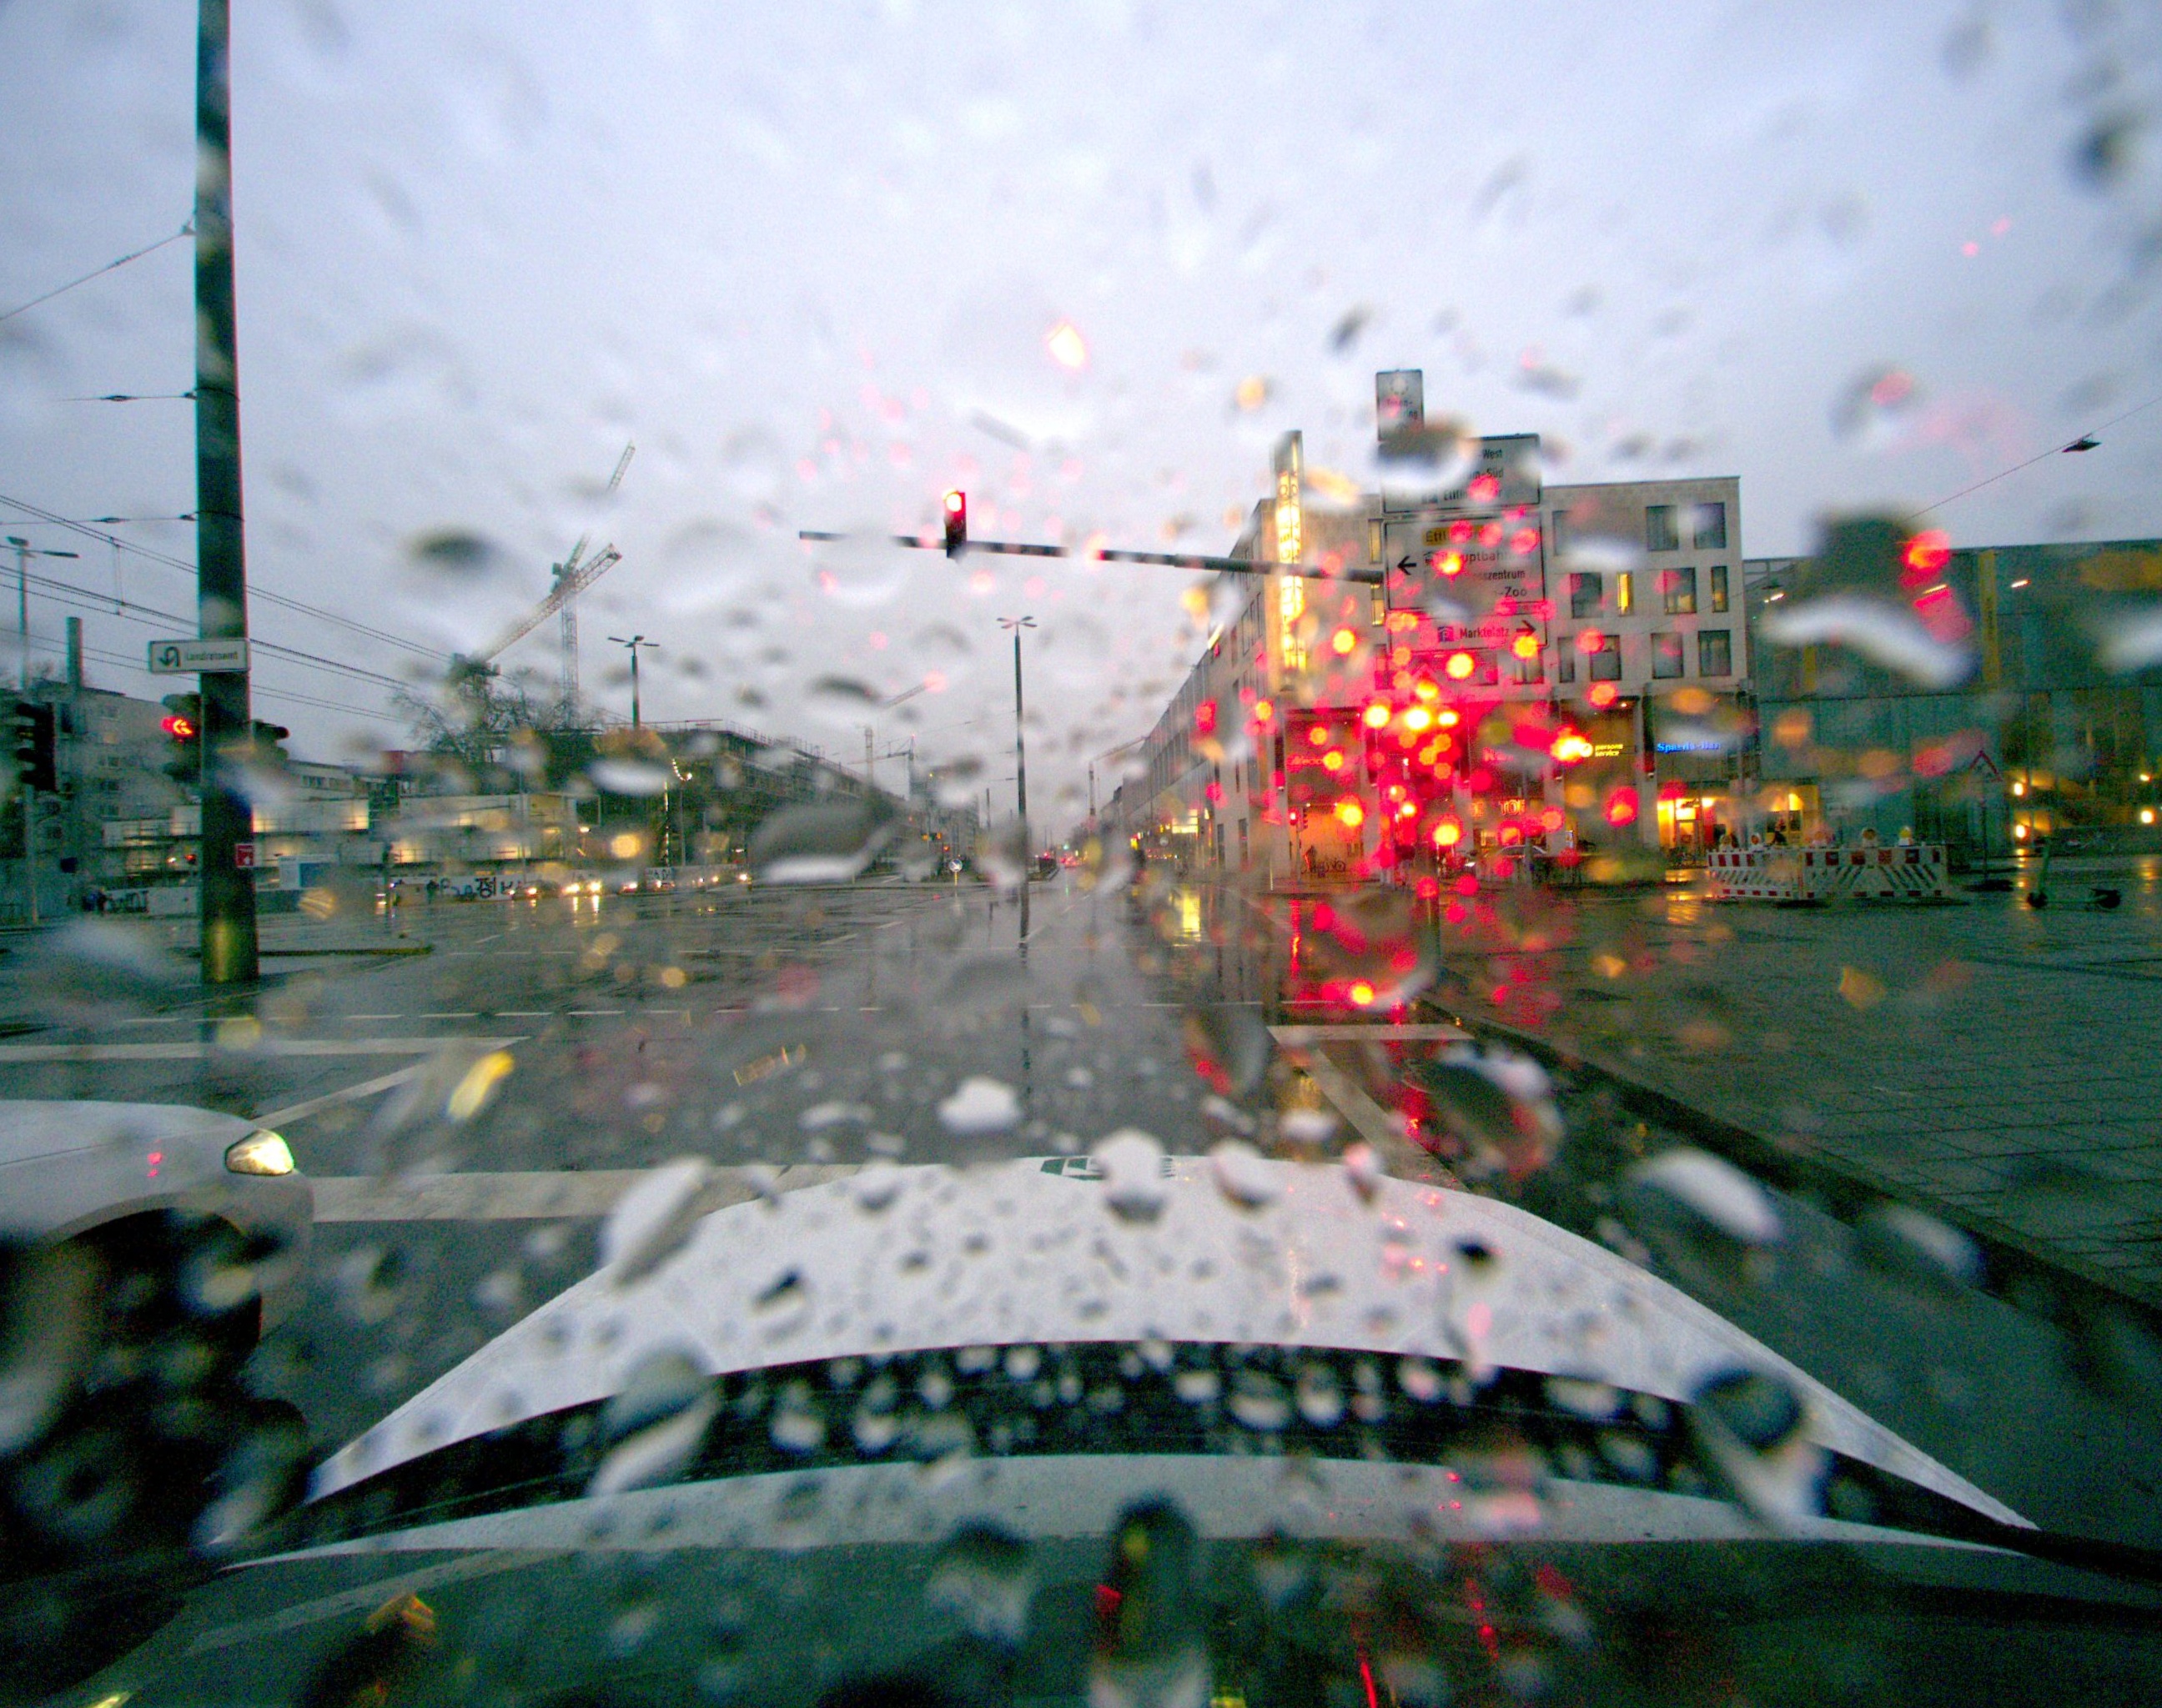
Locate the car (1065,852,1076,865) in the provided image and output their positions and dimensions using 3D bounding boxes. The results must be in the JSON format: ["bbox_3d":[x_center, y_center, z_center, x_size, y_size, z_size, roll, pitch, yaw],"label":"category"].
[{"bbox_3d":[-1.634,0.683,125.321,1.572,2.013,3.170,-2,0,0],"label":"car"}]

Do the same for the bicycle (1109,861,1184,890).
[{"bbox_3d":[2.519,0.833,31.631,2.849,1.099,0.745,0,-1,-2],"label":"bicycle"}]

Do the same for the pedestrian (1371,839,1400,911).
[{"bbox_3d":[10.423,0.724,27.927,0.712,2.441,0.758,0,-1,1],"label":"pedestrian"}]

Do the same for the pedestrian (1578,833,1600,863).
[{"bbox_3d":[29.378,-0.364,47.093,0.890,1.684,0.528,-2,-1,1],"label":"pedestrian"}]

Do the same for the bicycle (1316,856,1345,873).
[{"bbox_3d":[15.490,0.655,50.586,1.642,1.070,0.524,0,-1,-2],"label":"bicycle"}]

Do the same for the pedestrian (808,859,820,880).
[{"bbox_3d":[-23.291,1.360,71.139,0.762,1.898,0.763,0,-2,1],"label":"pedestrian"}]

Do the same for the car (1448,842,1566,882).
[{"bbox_3d":[18.002,0.351,34.546,3.970,1.618,2.001,0,-1,3],"label":"car"}]

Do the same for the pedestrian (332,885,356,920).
[{"bbox_3d":[-43.769,2.879,48.360,0.861,2.014,0.624,0,-1,-6],"label":"pedestrian"}]

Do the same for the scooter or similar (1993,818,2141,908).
[{"bbox_3d":[15.695,0.131,13.023,0.590,1.352,1.495,0,0,2],"label":"scooter or similar"}]

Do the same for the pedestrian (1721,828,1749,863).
[{"bbox_3d":[32.030,-0.422,39.905,0.737,1.684,0.783,0,-1,8],"label":"pedestrian"}]

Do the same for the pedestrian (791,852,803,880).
[{"bbox_3d":[-24.266,1.045,69.569,0.762,2.323,0.763,0,-2,1],"label":"pedestrian"}]

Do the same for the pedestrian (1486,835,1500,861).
[{"bbox_3d":[28.034,-0.397,55.428,0.728,1.718,0.743,-3,-1,29],"label":"pedestrian"}]

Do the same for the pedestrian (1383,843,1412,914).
[{"bbox_3d":[11.023,0.837,28.381,0.687,2.441,0.758,0,-1,1],"label":"pedestrian"}]

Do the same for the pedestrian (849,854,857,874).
[{"bbox_3d":[-22.824,1.026,81.576,0.569,1.968,0.664,1,-1,-4],"label":"pedestrian"}]

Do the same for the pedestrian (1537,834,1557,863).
[{"bbox_3d":[27.199,-0.325,47.547,0.737,1.684,0.783,0,-1,8],"label":"pedestrian"}]

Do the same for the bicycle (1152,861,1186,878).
[{"bbox_3d":[6.627,1.152,61.529,2.434,1.154,0.674,-2,-1,0],"label":"bicycle"}]

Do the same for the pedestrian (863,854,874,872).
[{"bbox_3d":[-24.071,1.053,92.180,0.939,2.014,1.094,0,-1,0],"label":"pedestrian"}]

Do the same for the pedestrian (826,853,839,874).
[{"bbox_3d":[-23.744,0.934,77.868,0.939,2.014,1.094,0,-1,0],"label":"pedestrian"}]

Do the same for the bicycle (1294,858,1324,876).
[{"bbox_3d":[14.031,0.797,50.127,1.756,1.070,0.526,0,-1,9],"label":"bicycle"}]

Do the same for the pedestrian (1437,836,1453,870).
[{"bbox_3d":[22.537,-0.063,50.441,0.785,2.014,0.595,-3,-1,21],"label":"pedestrian"}]

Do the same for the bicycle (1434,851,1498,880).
[{"bbox_3d":[19.256,0.577,40.785,2.705,1.359,0.957,-2,-1,-2],"label":"bicycle"}]

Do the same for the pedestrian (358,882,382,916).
[{"bbox_3d":[-42.914,2.702,49.175,0.781,2.014,0.748,0,-1,6],"label":"pedestrian"}]

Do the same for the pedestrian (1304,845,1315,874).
[{"bbox_3d":[13.922,0.323,49.556,0.596,1.745,0.526,-1,-1,10],"label":"pedestrian"}]

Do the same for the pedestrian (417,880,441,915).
[{"bbox_3d":[-41.932,2.800,52.388,0.872,2.165,0.763,0,-1,-7],"label":"pedestrian"}]

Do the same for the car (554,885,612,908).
[{"bbox_3d":[-38.940,3.294,63.812,1.986,1.530,4.001,-2,0,2],"label":"car"}]

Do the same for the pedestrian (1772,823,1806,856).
[{"bbox_3d":[36.540,-0.721,42.042,1.026,1.684,0.824,0,-1,1],"label":"pedestrian"}]

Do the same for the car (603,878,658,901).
[{"bbox_3d":[-34.273,2.638,62.077,2.074,1.530,4.603,-2,0,-8],"label":"car"}]

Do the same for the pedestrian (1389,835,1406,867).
[{"bbox_3d":[20.482,-0.179,52.649,0.841,2.013,0.700,-2,0,10],"label":"pedestrian"}]

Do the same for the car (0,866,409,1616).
[{"bbox_3d":[-3.213,0.808,0.319,2.010,1.487,4.561,-2,0,1],"label":"car"}]

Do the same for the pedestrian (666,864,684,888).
[{"bbox_3d":[-23.761,1.287,47.658,0.727,1.388,0.723,0,-1,-5],"label":"pedestrian"}]

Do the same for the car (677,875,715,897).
[{"bbox_3d":[-35.144,2.899,74.434,1.993,1.790,3.988,0,-1,-9],"label":"car"}]

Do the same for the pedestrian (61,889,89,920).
[{"bbox_3d":[-61.654,3.091,49.921,0.786,1.776,0.726,-2,-1,8],"label":"pedestrian"}]

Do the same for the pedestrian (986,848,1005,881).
[{"bbox_3d":[-4.908,0.606,46.750,0.826,1.831,0.778,0,-1,-29],"label":"pedestrian"}]

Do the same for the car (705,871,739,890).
[{"bbox_3d":[-35.206,2.558,79.966,1.993,1.790,3.988,0,-1,-9],"label":"car"}]

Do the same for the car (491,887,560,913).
[{"bbox_3d":[-38.703,3.194,56.865,1.986,1.530,4.001,-2,0,2],"label":"car"}]

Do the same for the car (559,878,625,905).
[{"bbox_3d":[-33.700,2.553,56.252,1.986,1.657,4.001,-2,0,2],"label":"car"}]

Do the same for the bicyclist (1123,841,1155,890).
[{"bbox_3d":[2.257,0.445,31.615,1.153,1.871,0.745,0,-1,-2],"label":"bicyclist"}]

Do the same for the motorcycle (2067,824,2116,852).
[{"bbox_3d":[48.295,-0.756,38.919,1.482,1.352,0.595,0,0,5],"label":"motorcycle"}]

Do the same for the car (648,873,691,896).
[{"bbox_3d":[-34.622,2.560,68.558,1.862,1.828,3.993,0,-1,-5],"label":"car"}]

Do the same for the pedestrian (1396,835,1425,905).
[{"bbox_3d":[11.724,0.570,28.970,0.691,2.448,0.792,0,-1,1],"label":"pedestrian"}]

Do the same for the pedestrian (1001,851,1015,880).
[{"bbox_3d":[-4.345,0.681,48.257,0.605,1.686,0.581,-1,-1,44],"label":"pedestrian"}]

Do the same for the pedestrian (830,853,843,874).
[{"bbox_3d":[-23.857,0.949,79.582,0.939,2.014,1.094,0,-1,0],"label":"pedestrian"}]

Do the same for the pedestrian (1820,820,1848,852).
[{"bbox_3d":[41.309,-0.983,44.688,0.782,1.739,0.779,-3,-1,17],"label":"pedestrian"}]

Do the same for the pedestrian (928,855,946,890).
[{"bbox_3d":[-8.438,1.076,47.711,0.776,2.014,0.732,-1,-1,44],"label":"pedestrian"}]

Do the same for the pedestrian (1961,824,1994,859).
[{"bbox_3d":[44.086,-0.620,40.053,0.737,1.684,0.783,0,-1,8],"label":"pedestrian"}]

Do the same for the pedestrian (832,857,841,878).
[{"bbox_3d":[-22.262,1.248,74.165,0.696,1.881,0.553,0,-1,1],"label":"pedestrian"}]
